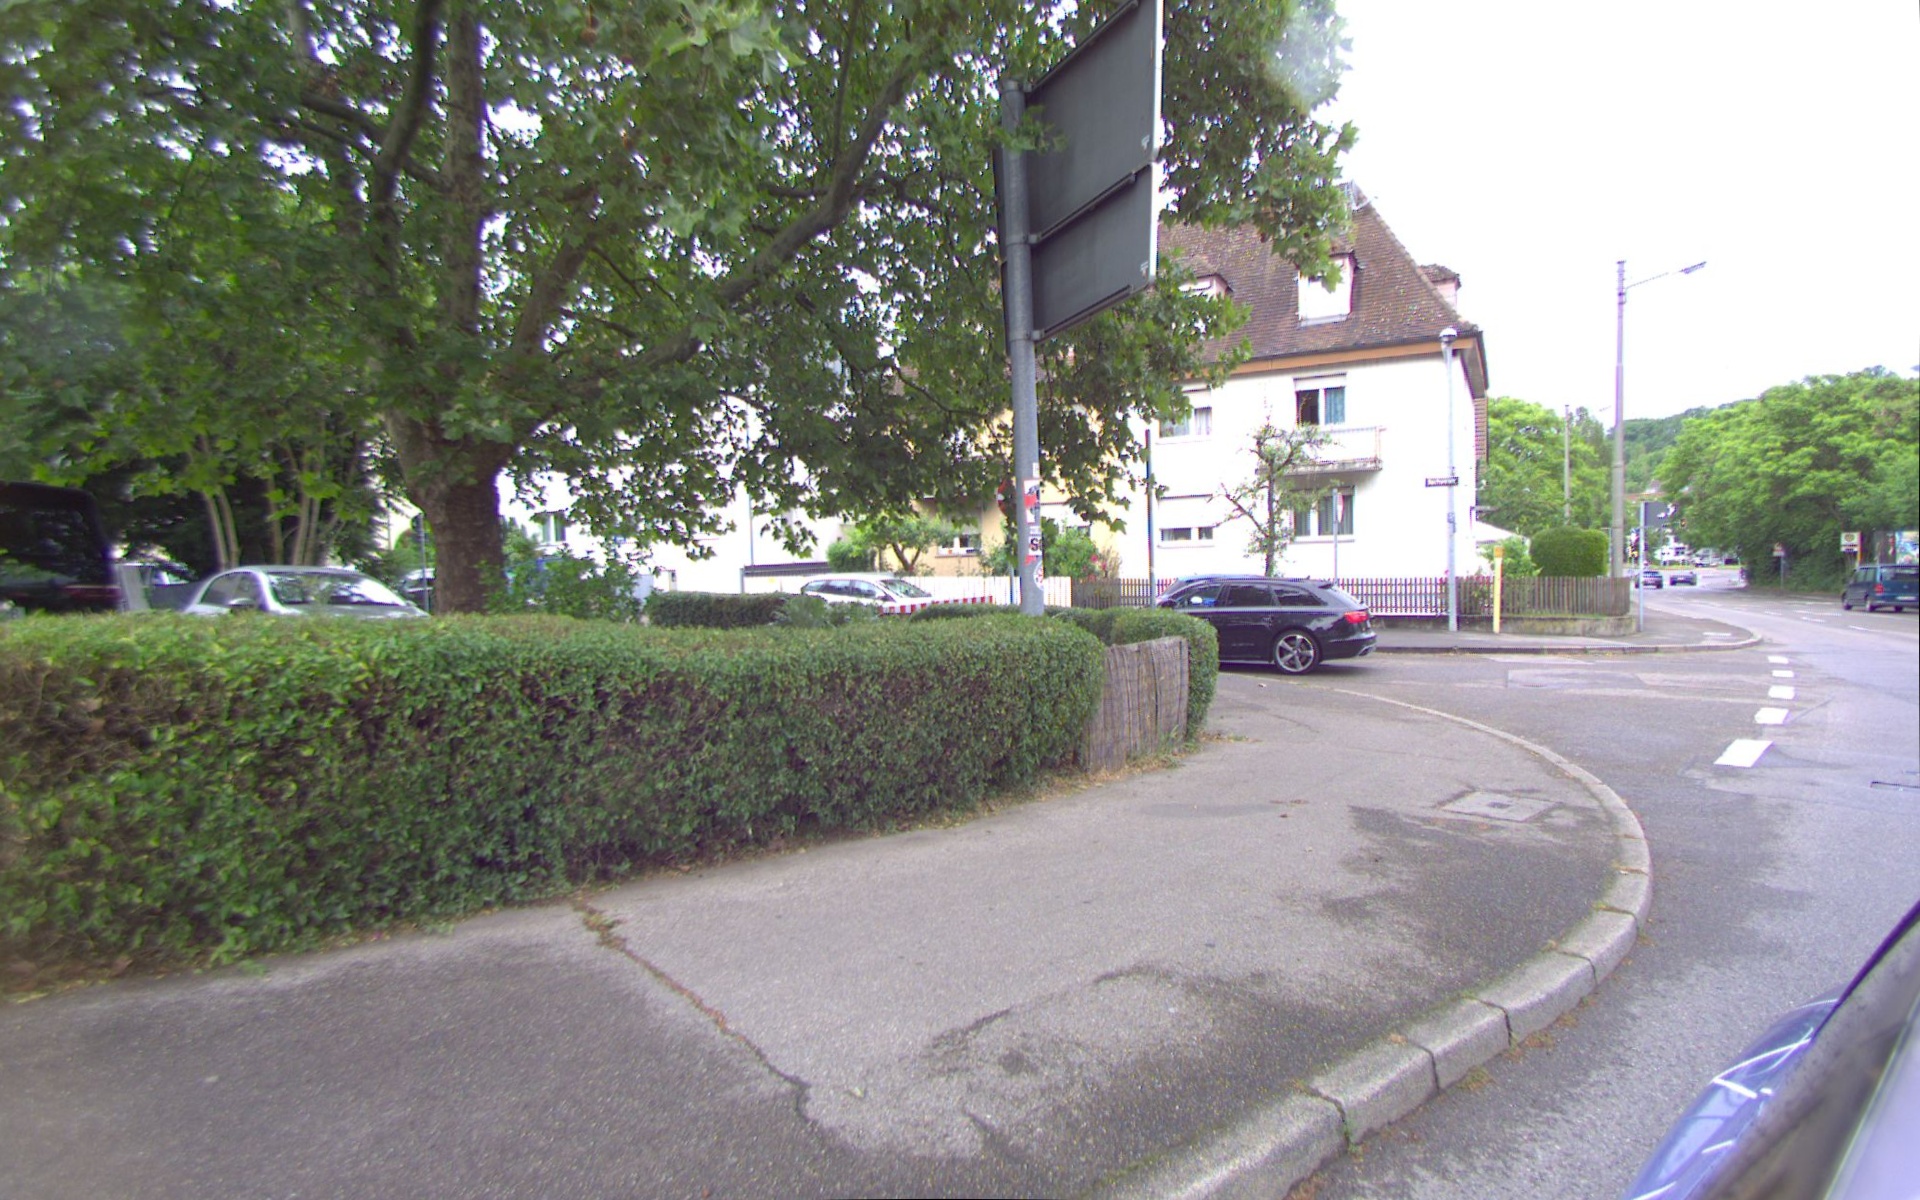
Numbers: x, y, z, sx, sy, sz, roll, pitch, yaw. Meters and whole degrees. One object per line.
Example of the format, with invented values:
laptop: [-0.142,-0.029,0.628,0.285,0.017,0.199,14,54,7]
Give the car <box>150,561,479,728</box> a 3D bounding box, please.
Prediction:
car: [-7.445,0.368,11.572,3.974,1.599,1.800,1,2,35]

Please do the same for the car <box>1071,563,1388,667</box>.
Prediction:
car: [4.372,0.154,16.541,4.768,1.498,1.870,1,2,25]

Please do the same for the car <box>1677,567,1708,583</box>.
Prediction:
car: [71.768,-2.491,99.143,1.992,1.461,4.703,0,2,42]

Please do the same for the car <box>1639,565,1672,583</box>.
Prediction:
car: [59.201,-2.258,86.205,1.884,1.479,3.961,1,2,28]

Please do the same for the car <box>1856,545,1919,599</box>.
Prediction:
car: [36.553,-1.094,39.217,1.949,1.955,4.631,1,2,32]

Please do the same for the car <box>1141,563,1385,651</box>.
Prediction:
car: [5.687,0.059,19.146,4.095,1.498,1.865,1,2,32]

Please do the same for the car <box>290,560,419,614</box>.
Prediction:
car: [-22.079,-0.500,36.885,4.535,1.862,1.982,1,2,28]

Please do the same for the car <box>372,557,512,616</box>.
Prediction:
car: [-17.510,-0.488,34.170,4.535,1.862,1.982,1,2,28]

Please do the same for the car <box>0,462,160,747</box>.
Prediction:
car: [-8.535,0.006,7.975,4.376,1.956,1.980,1,2,29]

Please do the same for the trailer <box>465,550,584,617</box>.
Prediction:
trailer: [-13.927,-0.546,32.363,3.456,2.038,1.657,1,1,26]

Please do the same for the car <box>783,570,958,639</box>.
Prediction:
car: [-2.083,0.064,23.394,3.752,1.471,1.754,1,1,30]
